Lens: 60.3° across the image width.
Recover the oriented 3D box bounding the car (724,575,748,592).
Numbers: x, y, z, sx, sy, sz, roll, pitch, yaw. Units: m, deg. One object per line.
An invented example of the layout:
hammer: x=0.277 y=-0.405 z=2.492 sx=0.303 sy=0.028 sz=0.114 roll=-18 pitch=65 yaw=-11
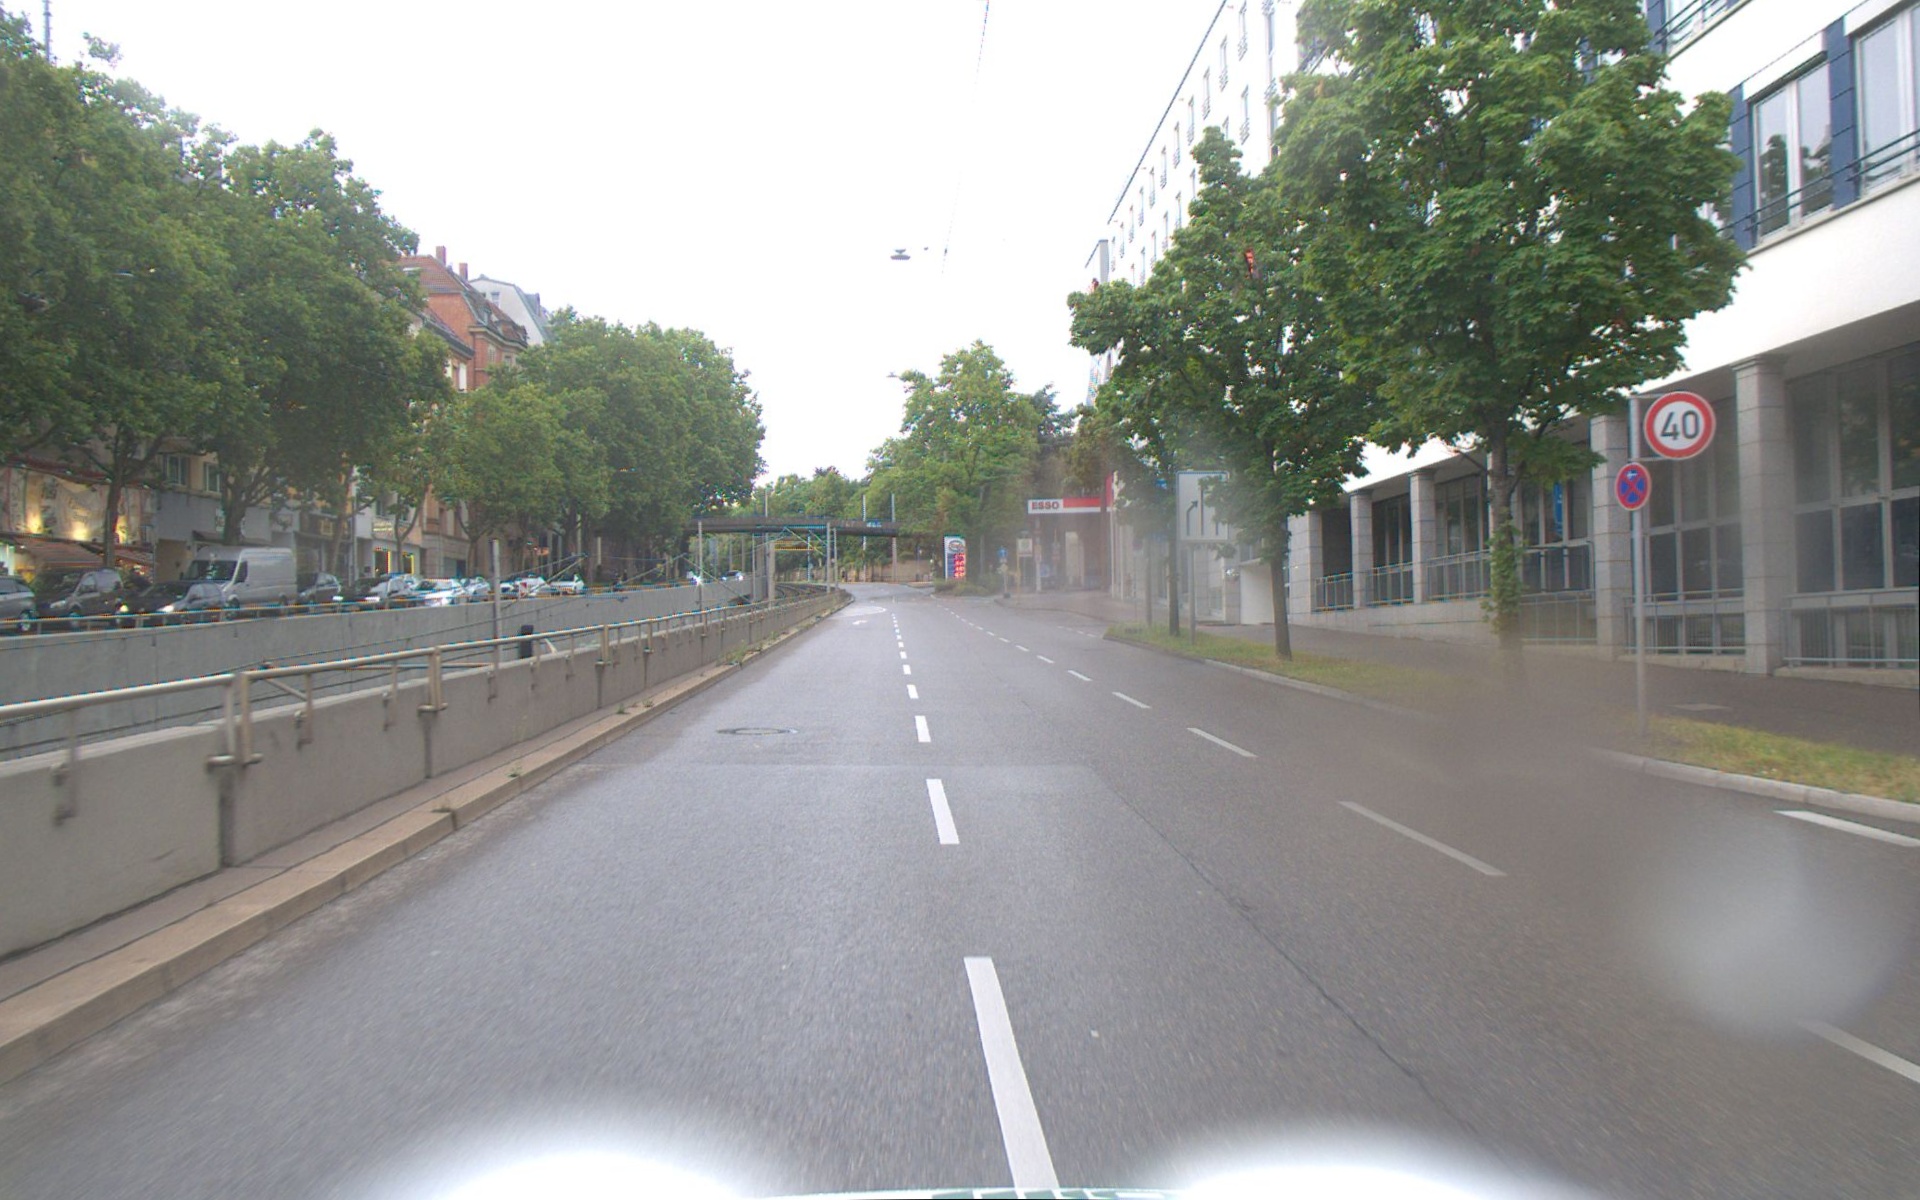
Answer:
car: x=-20.862 y=-1.532 z=154.087 sx=1.987 sy=1.536 sz=4.878 roll=1 pitch=1 yaw=-5

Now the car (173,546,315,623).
car: x=-26.806 y=-0.605 z=62.284 sx=2.402 sy=2.709 sz=6.931 roll=1 pitch=1 yaw=-1

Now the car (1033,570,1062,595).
car: x=6.334 y=-1.273 z=119.421 sx=1.735 sy=1.652 sz=3.869 roll=-3 pitch=0 yaw=7

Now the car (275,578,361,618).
car: x=-26.448 y=-0.110 z=68.298 sx=1.758 sy=1.536 sz=4.671 roll=1 pitch=1 yaw=-1

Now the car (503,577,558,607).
car: x=-23.272 y=-0.448 z=89.694 sx=1.808 sy=1.536 sz=4.018 roll=1 pitch=1 yaw=1

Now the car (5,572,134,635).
car: x=-26.423 y=0.066 z=49.232 sx=1.758 sy=1.759 sz=4.203 roll=1 pitch=1 yaw=-3

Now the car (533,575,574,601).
car: x=-26.582 y=-0.805 z=108.241 sx=1.758 sy=1.639 sz=4.111 roll=1 pitch=1 yaw=-2

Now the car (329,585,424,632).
car: x=-20.017 y=0.278 z=56.912 sx=1.757 sy=1.537 sz=4.344 roll=0 pitch=0 yaw=0

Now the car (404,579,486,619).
car: x=-20.759 y=-0.059 z=66.858 sx=1.808 sy=1.536 sz=4.821 roll=1 pitch=1 yaw=0

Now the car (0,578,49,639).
car: x=-26.692 y=0.230 z=44.634 sx=1.839 sy=1.611 sz=4.471 roll=1 pitch=1 yaw=-2

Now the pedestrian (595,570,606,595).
pedestrian: x=-29.022 y=-1.410 z=133.538 sx=0.655 sy=2.049 sz=0.935 roll=1 pitch=-1 yaw=1

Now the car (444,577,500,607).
car: x=-26.229 y=-0.454 z=89.053 sx=1.757 sy=1.536 sz=4.208 roll=1 pitch=1 yaw=0

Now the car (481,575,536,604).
car: x=-26.285 y=-0.616 z=96.456 sx=1.888 sy=1.629 sz=5.198 roll=1 pitch=1 yaw=-1
